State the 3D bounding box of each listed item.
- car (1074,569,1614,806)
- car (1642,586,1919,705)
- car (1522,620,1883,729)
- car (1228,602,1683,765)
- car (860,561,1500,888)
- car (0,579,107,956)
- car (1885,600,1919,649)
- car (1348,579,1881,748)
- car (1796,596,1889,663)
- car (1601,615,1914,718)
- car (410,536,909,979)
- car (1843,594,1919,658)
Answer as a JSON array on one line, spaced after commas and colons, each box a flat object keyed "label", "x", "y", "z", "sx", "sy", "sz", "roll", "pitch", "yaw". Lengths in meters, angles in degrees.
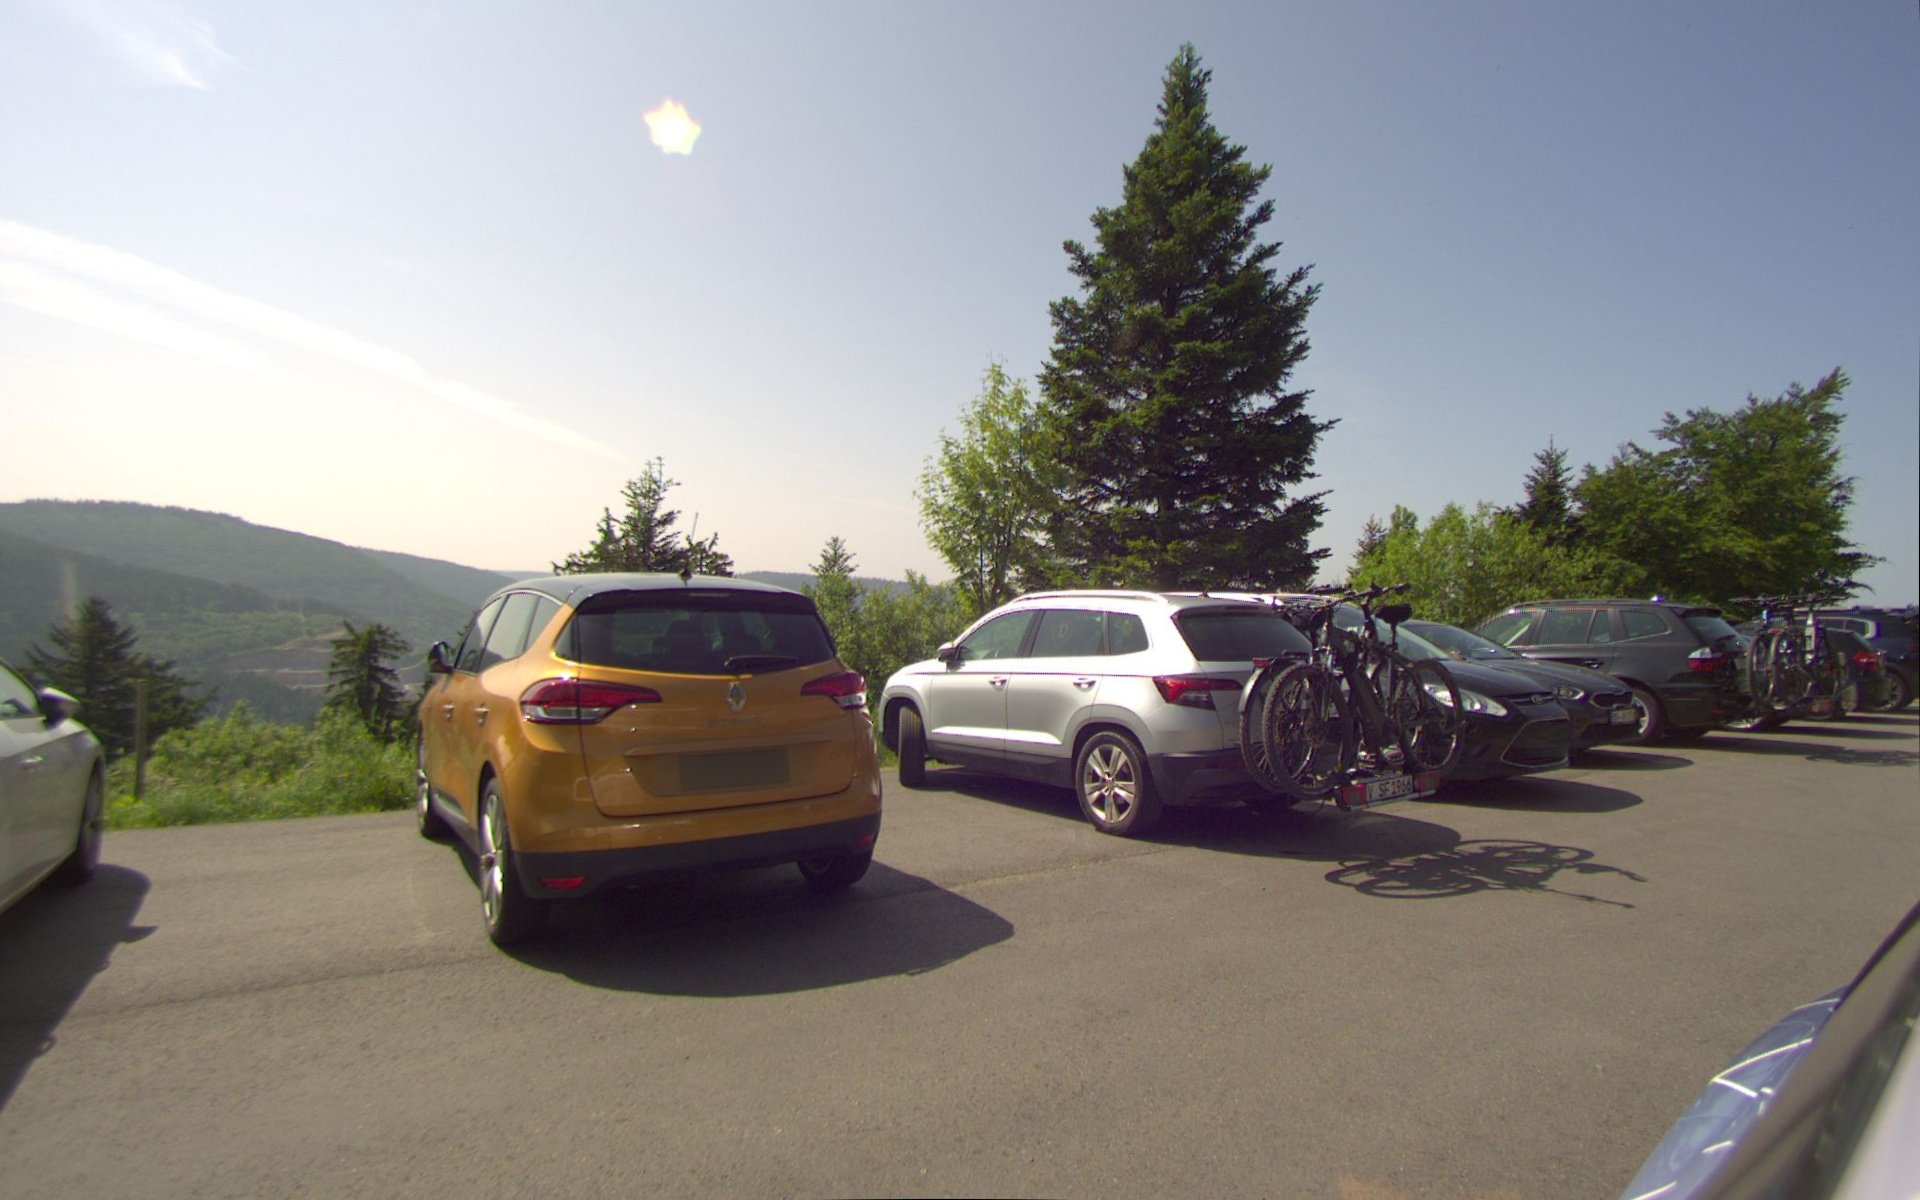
[{"label": "car", "x": 3.197, "y": 0.684, "z": 9.351, "sx": 1.719, "sy": 1.639, "sz": 4.430, "roll": 1, "pitch": -2, "yaw": -36}, {"label": "car", "x": 14.723, "y": 0.716, "z": 17.635, "sx": 1.962, "sy": 1.845, "sz": 4.325, "roll": 1, "pitch": -1, "yaw": -36}, {"label": "car", "x": 10.027, "y": 0.924, "z": 13.922, "sx": 1.535, "sy": 1.285, "sz": 3.709, "roll": 2, "pitch": -2, "yaw": -36}, {"label": "car", "x": 5.235, "y": 0.822, "z": 11.331, "sx": 1.657, "sy": 1.450, "sz": 4.327, "roll": 1, "pitch": -2, "yaw": -33}, {"label": "car", "x": 1.240, "y": 0.678, "z": 7.528, "sx": 1.975, "sy": 1.648, "sz": 4.488, "roll": 1, "pitch": -2, "yaw": -36}, {"label": "car", "x": -4.579, "y": 0.657, "z": 3.822, "sx": 1.582, "sy": 1.438, "sz": 3.897, "roll": -1, "pitch": -1, "yaw": -33}, {"label": "car", "x": 36.503, "y": 0.903, "z": 38.440, "sx": 1.993, "sy": 1.766, "sz": 3.939, "roll": 0, "pitch": 0, "yaw": 42}, {"label": "car", "x": 7.653, "y": 0.736, "z": 12.477, "sx": 1.962, "sy": 1.641, "sz": 5.115, "roll": 1, "pitch": -3, "yaw": -35}, {"label": "car", "x": 26.623, "y": 0.832, "z": 30.487, "sx": 3.820, "sy": 1.864, "sz": 1.862, "roll": 0, "pitch": 0, "yaw": -45}, {"label": "car", "x": 12.508, "y": 0.953, "z": 16.029, "sx": 1.708, "sy": 1.368, "sz": 3.678, "roll": 1, "pitch": 0, "yaw": -42}, {"label": "car", "x": -2.012, "y": 0.644, "z": 5.844, "sx": 1.677, "sy": 1.636, "sz": 3.889, "roll": 1, "pitch": -2, "yaw": -34}, {"label": "car", "x": 31.740, "y": 0.838, "z": 34.777, "sx": 1.993, "sy": 2.039, "sz": 3.938, "roll": 0, "pitch": 0, "yaw": 43}]
